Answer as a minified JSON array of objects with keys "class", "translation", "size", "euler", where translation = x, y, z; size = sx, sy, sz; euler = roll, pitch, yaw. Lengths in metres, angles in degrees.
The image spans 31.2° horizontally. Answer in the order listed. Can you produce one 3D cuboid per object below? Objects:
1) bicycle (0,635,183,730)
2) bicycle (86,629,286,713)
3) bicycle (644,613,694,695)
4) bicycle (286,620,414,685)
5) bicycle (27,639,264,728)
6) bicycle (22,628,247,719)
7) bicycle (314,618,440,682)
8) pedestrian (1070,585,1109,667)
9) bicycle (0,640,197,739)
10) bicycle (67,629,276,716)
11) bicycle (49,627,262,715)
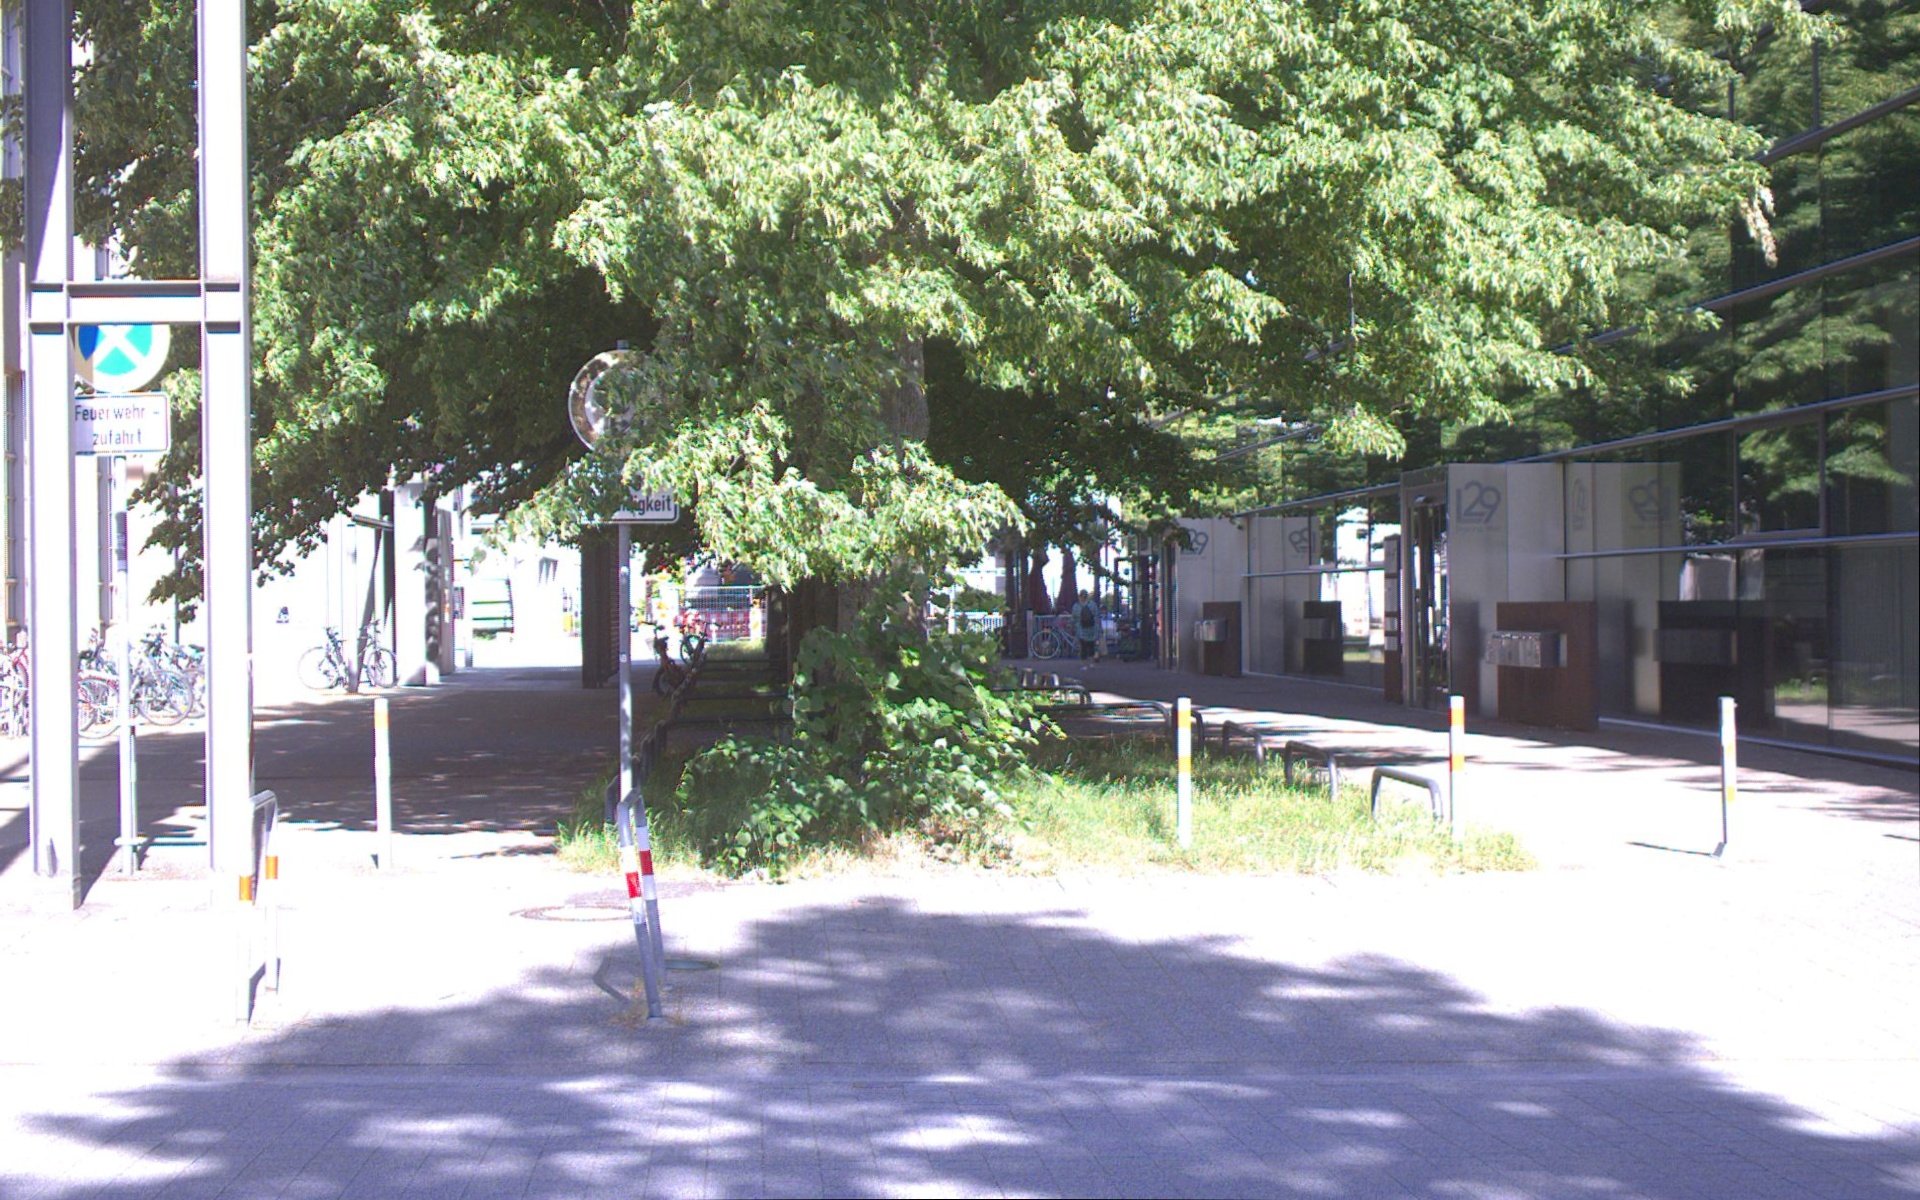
[{"class":"bicycle","translation":[-10.475,0.949,39.783],"size":[2.800,1.059,0.719],"euler":[0,0,-3]},{"class":"bicycle","translation":[-11.042,1.006,49.109],"size":[2.730,1.147,0.719],"euler":[0,0,-7]},{"class":"bicycle","translation":[-4.438,0.806,52.395],"size":[0.619,1.193,2.132],"euler":[-1,0,-8]},{"class":"bicycle","translation":[-10.264,0.877,57.887],"size":[2.057,1.063,0.506],"euler":[0,0,-1]},{"class":"bicycle","translation":[-10.113,1.033,42.762],"size":[2.800,1.059,0.719],"euler":[0,0,-7]},{"class":"bicycle","translation":[-10.808,0.960,45.107],"size":[2.800,1.147,0.719],"euler":[-1,0,-7]},{"class":"bicycle","translation":[-9.935,0.848,58.593],"size":[2.057,1.063,0.506],"euler":[0,0,-1]},{"class":"pedestrian","translation":[2.478,0.491,65.607],"size":[0.717,1.545,0.690],"euler":[0,0,3]},{"class":"bicycle","translation":[-9.942,0.991,38.198],"size":[2.800,1.059,0.719],"euler":[0,0,-7]},{"class":"bicycle","translation":[-10.822,0.991,47.264],"size":[2.730,1.147,0.719],"euler":[0,0,-7]},{"class":"bicycle","translation":[-10.860,0.950,46.471],"size":[2.730,1.147,0.719],"euler":[0,0,-7]}]
